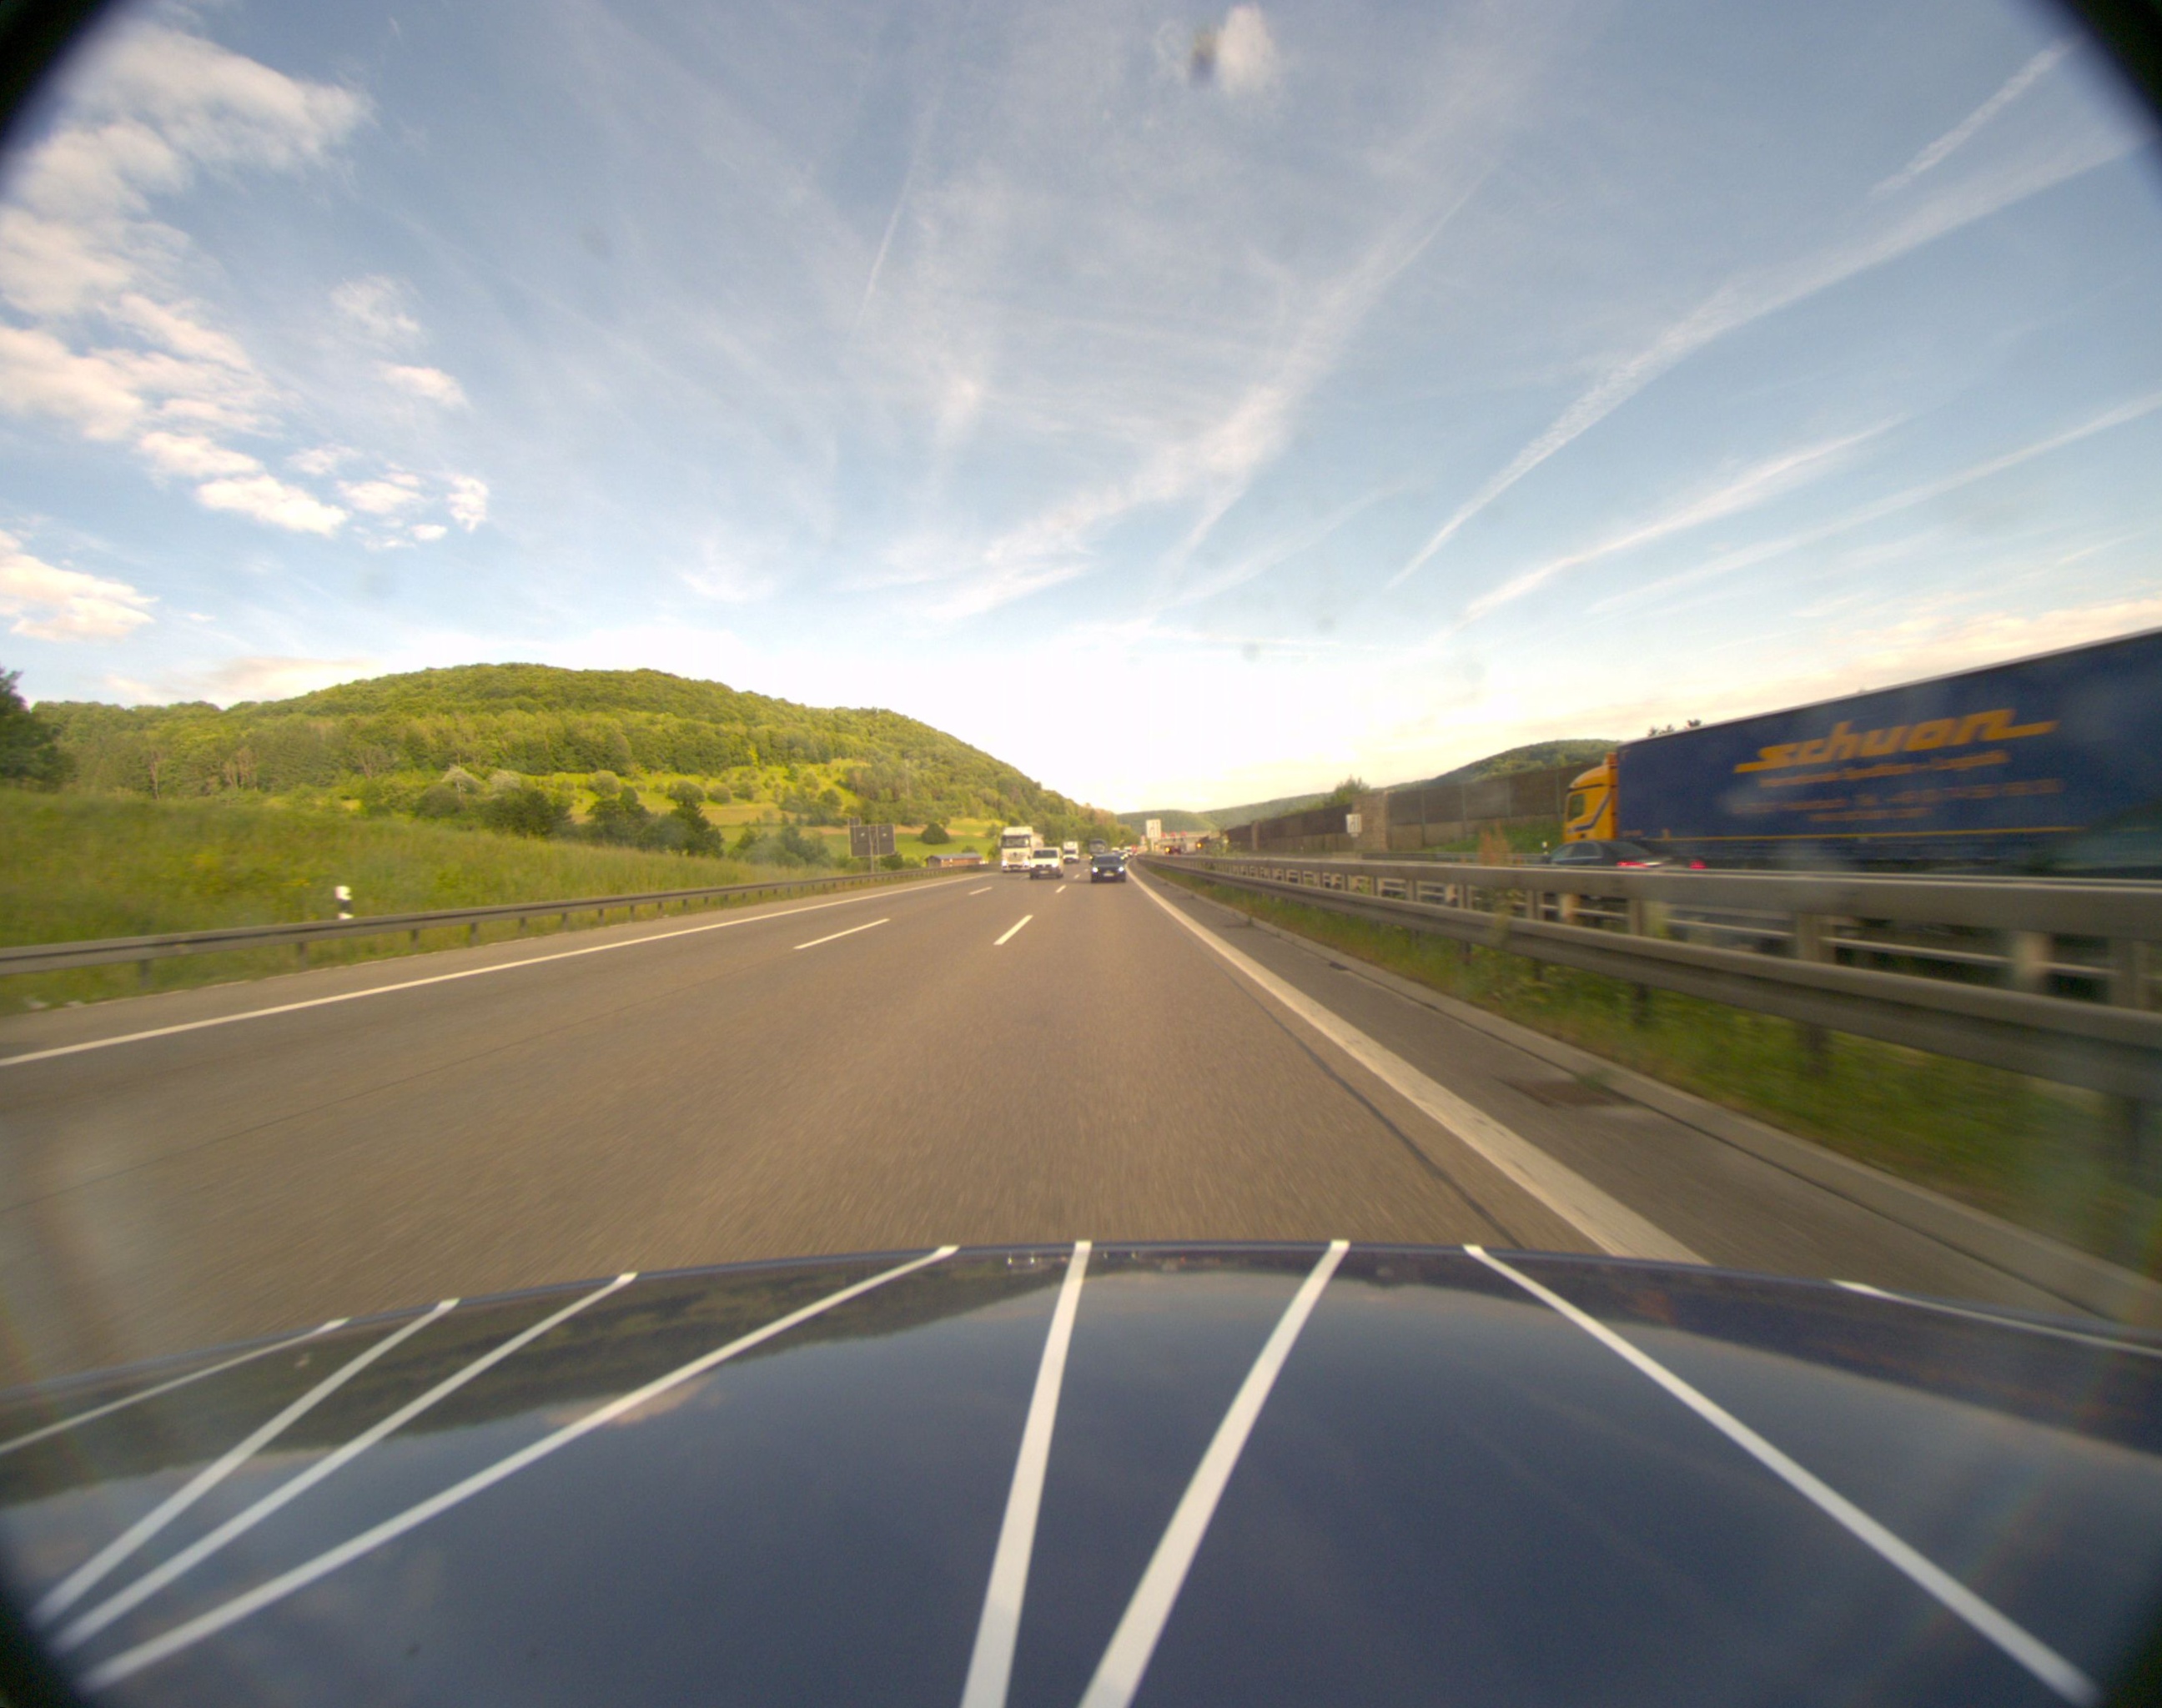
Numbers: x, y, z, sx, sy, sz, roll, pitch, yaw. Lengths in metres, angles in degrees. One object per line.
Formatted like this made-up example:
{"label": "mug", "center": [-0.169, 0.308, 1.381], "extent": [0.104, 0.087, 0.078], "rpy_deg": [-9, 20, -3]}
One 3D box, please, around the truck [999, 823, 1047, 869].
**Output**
{"label": "truck", "center": [-5.253, -0.728, 71.250], "extent": [2.925, 3.876, 13.010], "rpy_deg": [-2, 0, 2]}

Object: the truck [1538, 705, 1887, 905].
{"label": "truck", "center": [16.138, -1.079, 20.535], "extent": [2.657, 4.235, 8.166], "rpy_deg": [-2, 0, 1]}

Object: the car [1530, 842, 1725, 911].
{"label": "car", "center": [12.525, 0.451, 17.775], "extent": [1.688, 1.388, 4.000], "rpy_deg": [-2, 0, 0]}

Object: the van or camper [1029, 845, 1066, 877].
{"label": "van or camper", "center": [-2.070, 0.423, 48.186], "extent": [1.998, 1.881, 4.487], "rpy_deg": [-2, 0, 1]}

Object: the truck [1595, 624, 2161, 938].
{"label": "truck", "center": [16.032, -1.047, 14.455], "extent": [2.657, 4.253, 14.677], "rpy_deg": [-2, 0, 1]}

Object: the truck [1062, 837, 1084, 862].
{"label": "truck", "center": [-1.263, -0.723, 115.524], "extent": [2.710, 3.627, 9.029], "rpy_deg": [-2, 0, -4]}

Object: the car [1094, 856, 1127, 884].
{"label": "car", "center": [1.505, 0.801, 40.085], "extent": [1.580, 1.310, 4.000], "rpy_deg": [-2, 0, 1]}

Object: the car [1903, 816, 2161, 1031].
{"label": "car", "center": [8.109, 0.448, 4.711], "extent": [1.688, 1.450, 4.000], "rpy_deg": [-2, 0, 0]}
